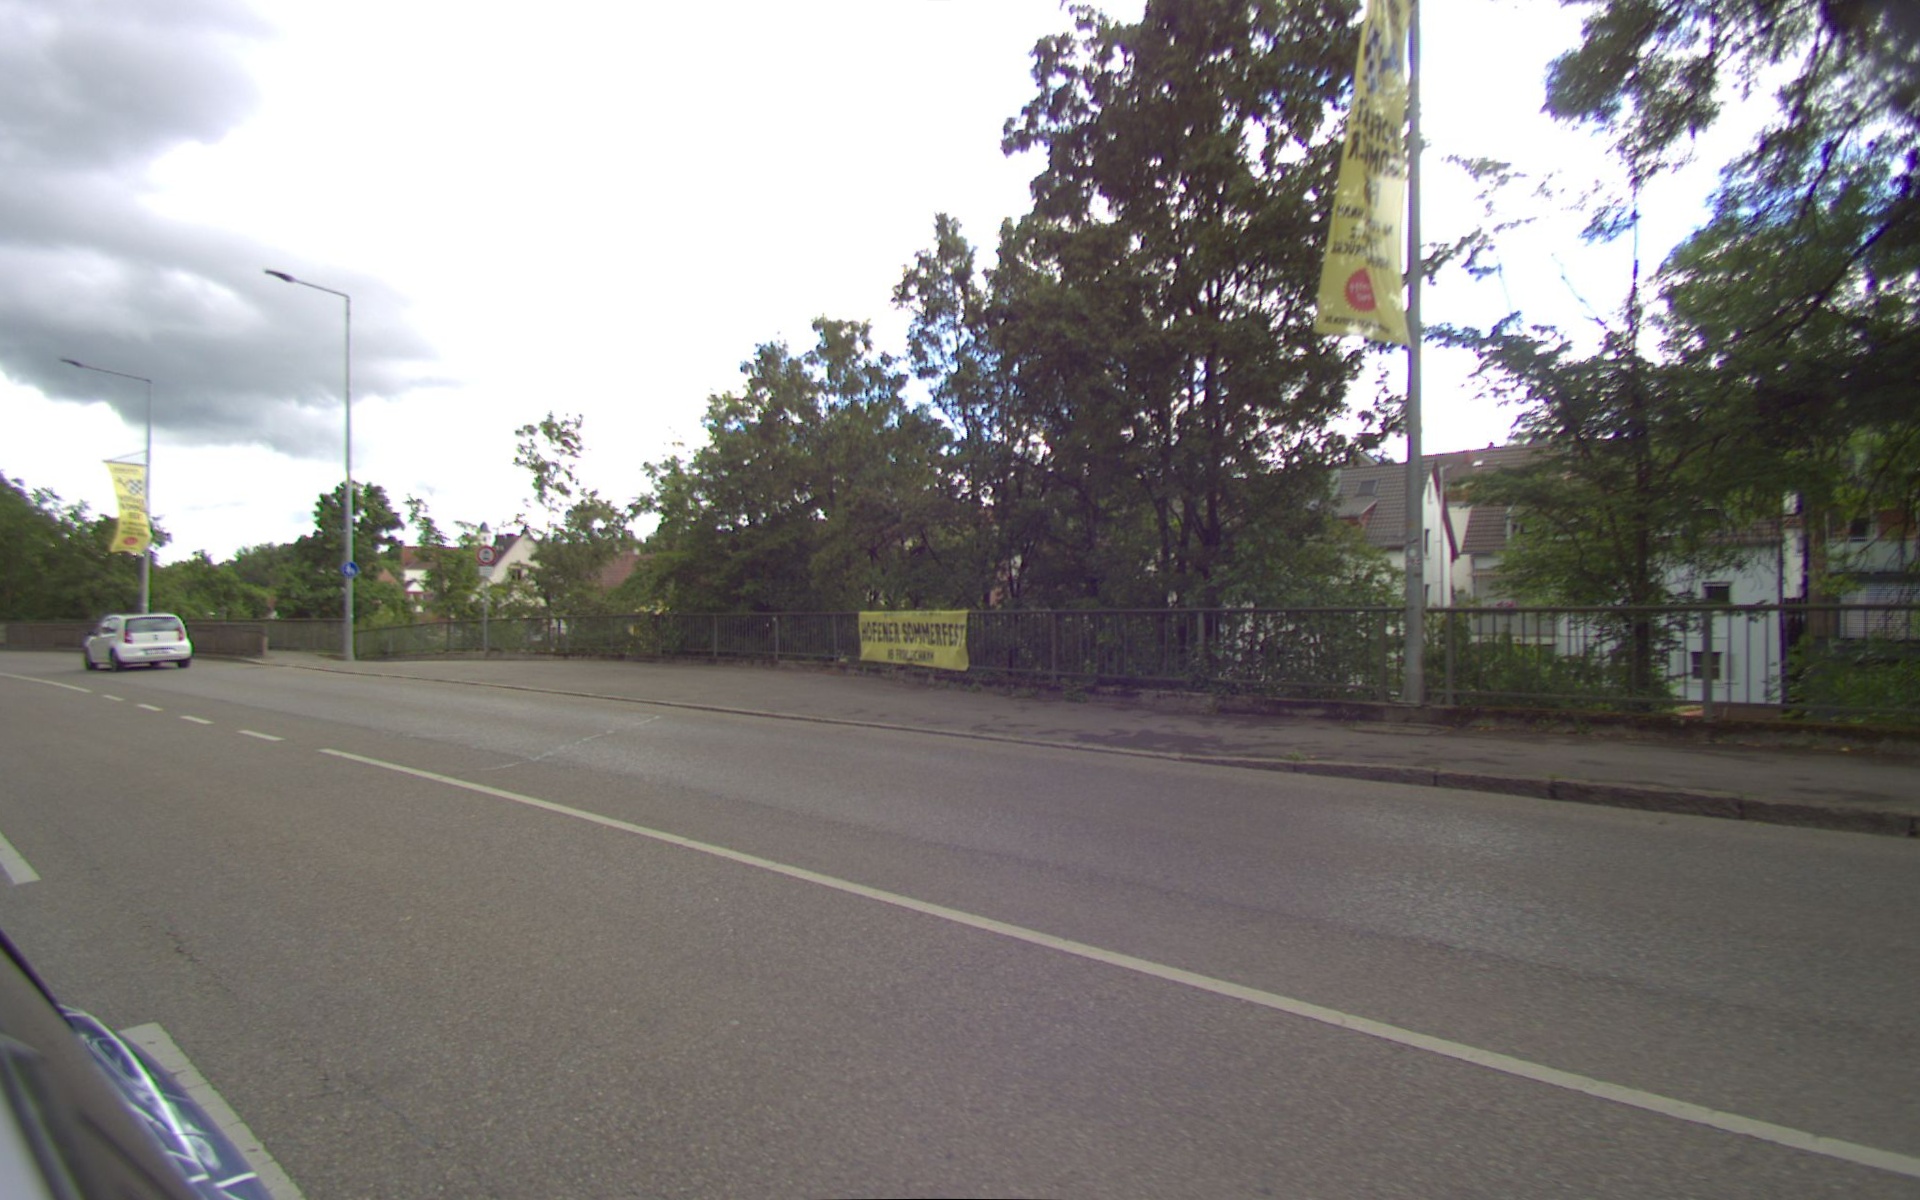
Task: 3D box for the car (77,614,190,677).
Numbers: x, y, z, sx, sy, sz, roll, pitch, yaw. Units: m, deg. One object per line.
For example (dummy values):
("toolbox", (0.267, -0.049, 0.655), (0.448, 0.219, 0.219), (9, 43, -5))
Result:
("car", (-22.096, 1.184, 27.006), (3.692, 1.477, 1.565), (-1, 1, 39))
